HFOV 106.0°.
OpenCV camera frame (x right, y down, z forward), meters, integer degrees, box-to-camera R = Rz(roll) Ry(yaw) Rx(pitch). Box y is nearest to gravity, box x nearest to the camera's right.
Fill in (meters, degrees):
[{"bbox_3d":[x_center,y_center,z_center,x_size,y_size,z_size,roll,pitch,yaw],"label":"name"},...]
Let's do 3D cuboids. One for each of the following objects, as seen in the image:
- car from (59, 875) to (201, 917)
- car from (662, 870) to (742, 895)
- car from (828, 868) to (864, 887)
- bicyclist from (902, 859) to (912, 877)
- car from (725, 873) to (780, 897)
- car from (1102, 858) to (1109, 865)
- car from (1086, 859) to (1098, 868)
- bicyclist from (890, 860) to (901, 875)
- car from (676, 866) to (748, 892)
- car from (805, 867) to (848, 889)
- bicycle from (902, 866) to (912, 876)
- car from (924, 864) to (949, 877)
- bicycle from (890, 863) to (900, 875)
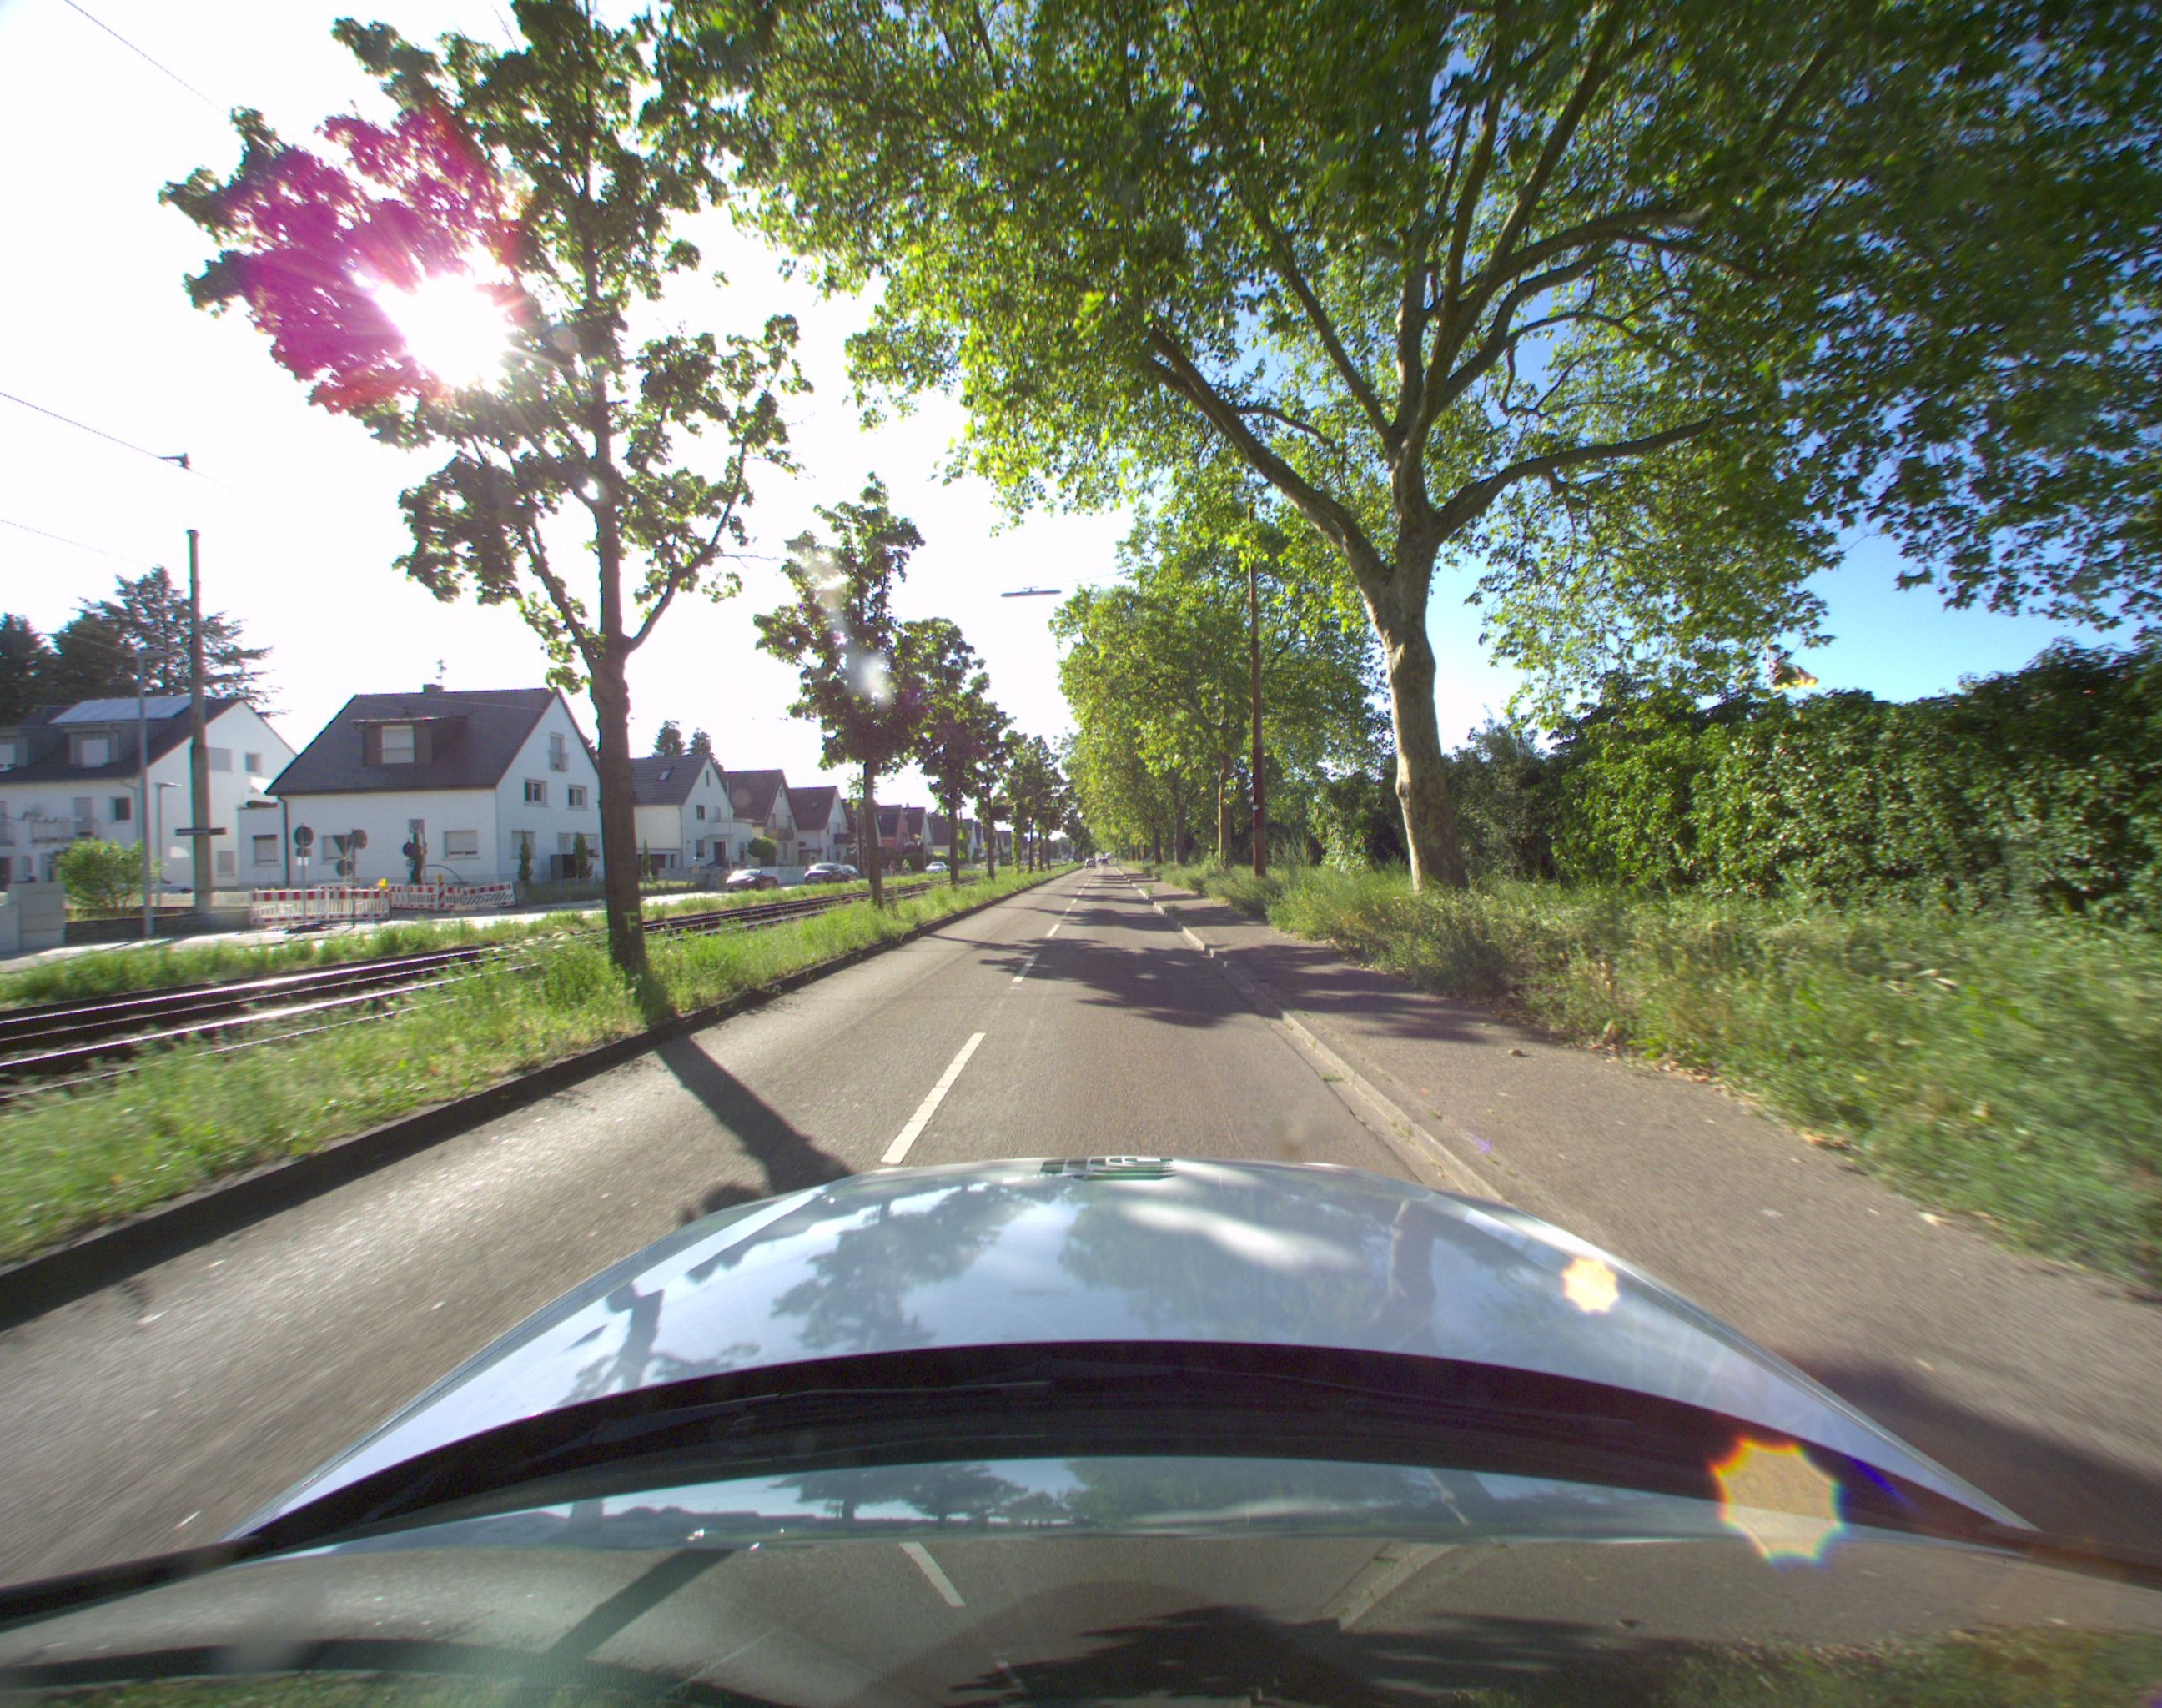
[{"bbox_3d":[-46.379,2.000,39.836,1.981,1.776,4.011,-2,0,10],"label":"car"},{"bbox_3d":[-24.527,1.844,52.819,4.202,1.463,1.936,-1,-1,-3],"label":"car"},{"bbox_3d":[-19.002,1.904,66.050,1.608,1.451,3.990,-1,-1,2],"label":"car"},{"bbox_3d":[-16.611,1.337,77.653,0.686,1.652,0.882,-2,0,1],"label":"bicyclist"},{"bbox_3d":[-19.777,1.857,49.234,1.487,1.326,4.003,-1,-1,3],"label":"car"},{"bbox_3d":[5.823,1.743,192.748,1.754,1.513,3.278,-1,-1,2],"label":"car"},{"bbox_3d":[1.743,1.450,126.016,1.732,1.401,3.277,-1,-1,1],"label":"car"},{"bbox_3d":[-16.749,1.219,73.510,0.686,1.337,0.882,-2,0,1],"label":"bicyclist"},{"bbox_3d":[-25.299,1.719,55.980,3.977,1.669,1.998,-1,-1,-3],"label":"car"},{"bbox_3d":[-19.189,1.779,61.609,1.637,1.568,4.389,-1,-1,3],"label":"car"},{"bbox_3d":[-16.594,1.618,77.751,0.397,0.927,2.097,-2,0,2],"label":"bicycle"},{"bbox_3d":[-18.584,2.128,105.256,1.984,1.599,4.738,-1,-1,5],"label":"car"},{"bbox_3d":[-16.762,1.325,73.306,0.397,1.070,1.880,-2,0,2],"label":"bicycle"}]
